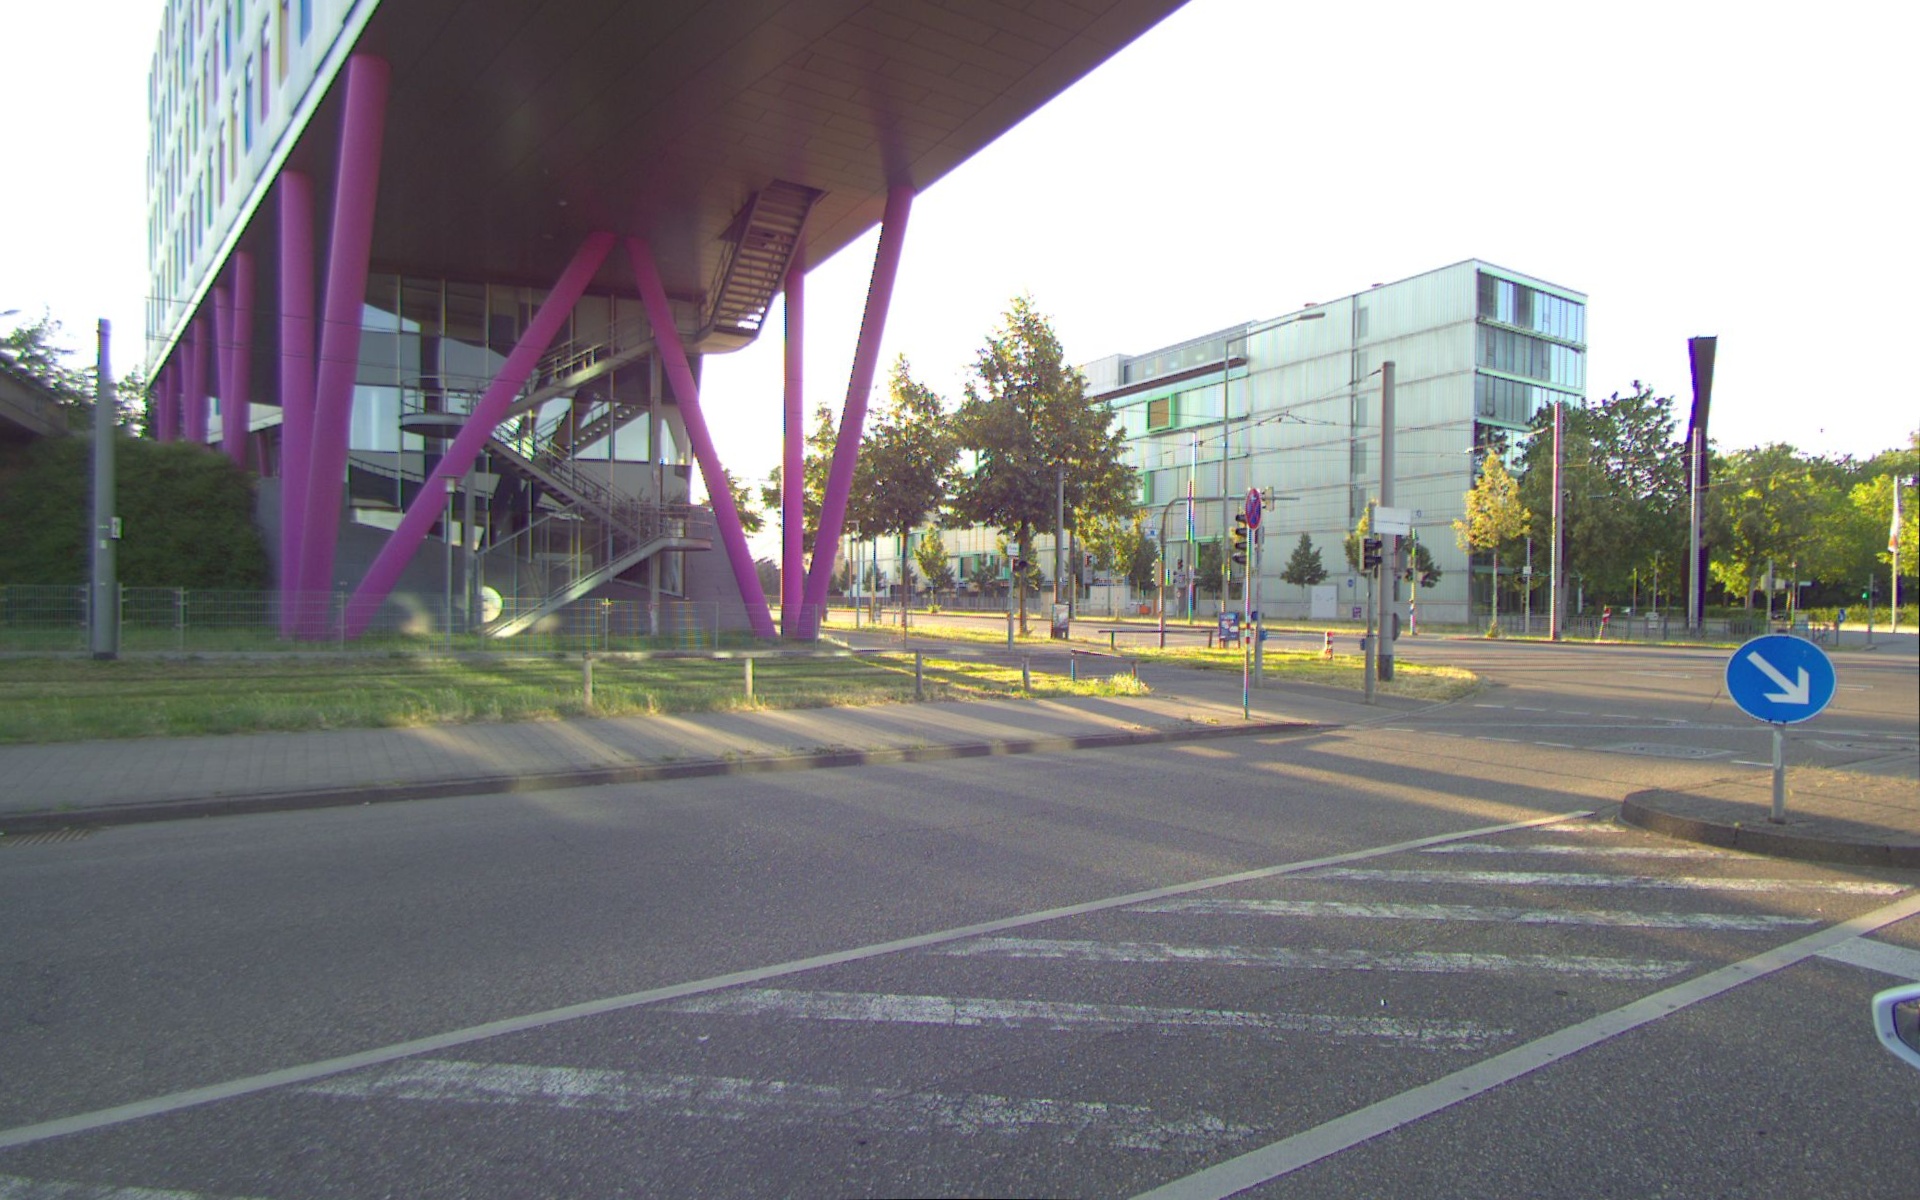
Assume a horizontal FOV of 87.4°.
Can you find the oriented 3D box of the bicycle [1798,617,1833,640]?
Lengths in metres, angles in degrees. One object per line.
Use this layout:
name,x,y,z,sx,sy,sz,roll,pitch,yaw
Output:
bicycle,44.261,1.483,51.964,2.367,1.151,0.695,1,0,-33
